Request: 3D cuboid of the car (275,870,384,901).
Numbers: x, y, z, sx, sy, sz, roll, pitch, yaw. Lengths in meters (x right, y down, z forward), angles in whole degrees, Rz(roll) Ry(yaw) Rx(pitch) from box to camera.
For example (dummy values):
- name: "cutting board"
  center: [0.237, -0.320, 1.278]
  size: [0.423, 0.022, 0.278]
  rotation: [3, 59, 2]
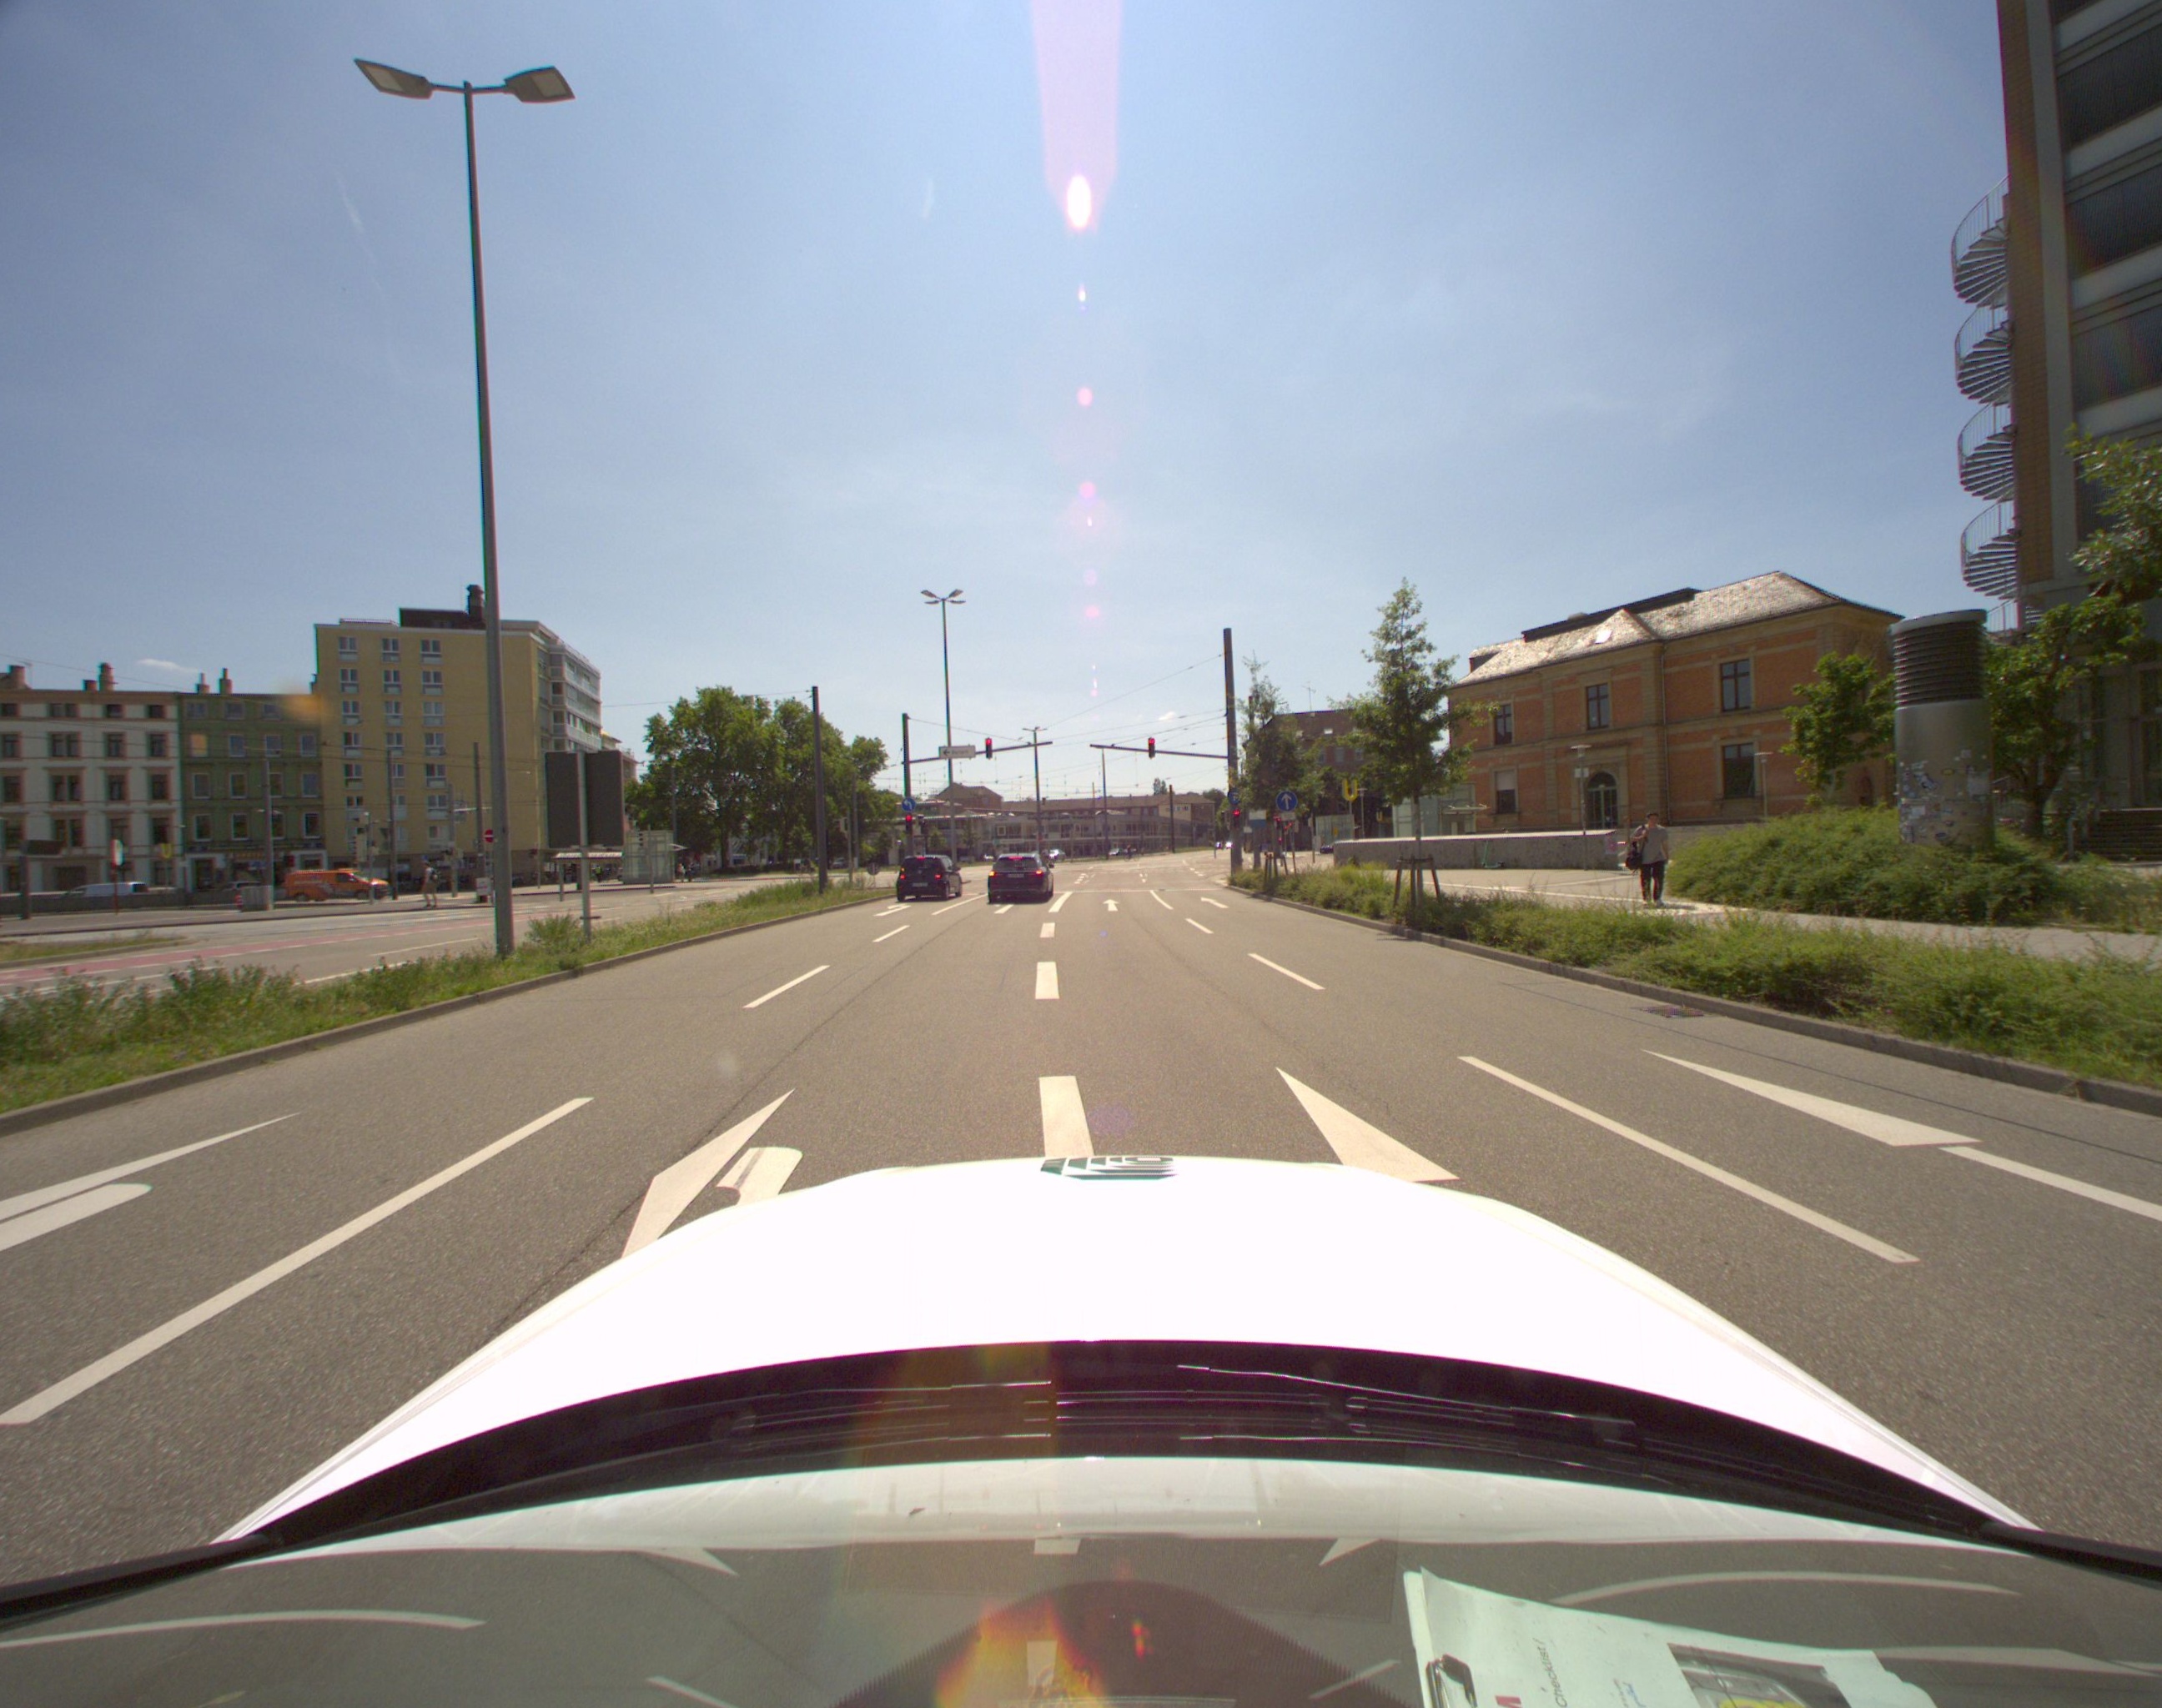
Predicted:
- name: "car"
  center: [-46.407, 1.926, 50.397]
  size: [4.629, 1.613, 1.668]
  rotation: [-2, 2, -14]

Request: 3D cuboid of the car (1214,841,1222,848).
- name: "car"
  center: [30.275, -2.102, 180.097]
  size: [1.522, 1.458, 3.560]
  rotation: [-1, 2, 8]

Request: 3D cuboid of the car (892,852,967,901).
- name: "car"
  center: [-5.007, 0.706, 27.341]
  size: [1.615, 1.463, 4.001]
  rotation: [-2, 0, 1]

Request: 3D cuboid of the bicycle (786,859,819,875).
- name: "bicycle"
  center: [-25.929, 1.211, 75.917]
  size: [2.771, 1.385, 0.669]
  rotation: [-2, 2, -6]

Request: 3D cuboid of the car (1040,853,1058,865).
- name: "car"
  center: [-3.988, 0.627, 102.638]
  size: [1.421, 1.285, 3.274]
  rotation: [-1, 2, 14]

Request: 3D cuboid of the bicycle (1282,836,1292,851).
- name: "bicycle"
  center: [26.623, -1.378, 105.273]
  size: [0.609, 1.788, 3.183]
  rotation: [-1, 2, 2]

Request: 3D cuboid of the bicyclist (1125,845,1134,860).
- name: "bicyclist"
  center: [5.175, -0.175, 86.191]
  size: [0.734, 1.479, 0.652]
  rotation: [-2, 2, -17]

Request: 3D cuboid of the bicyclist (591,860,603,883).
- name: "bicyclist"
  center: [-45.889, 1.641, 77.195]
  size: [0.767, 2.105, 0.743]
  rotation: [0, 3, 43]

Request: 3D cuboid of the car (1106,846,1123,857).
- name: "car"
  center: [5.134, -0.363, 124.419]
  size: [1.558, 1.427, 3.631]
  rotation: [-1, 2, 19]

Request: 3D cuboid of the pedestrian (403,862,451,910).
- name: "pedestrian"
  center: [-27.617, 1.346, 34.402]
  size: [1.177, 1.933, 0.901]
  rotation: [-2, 2, -5]

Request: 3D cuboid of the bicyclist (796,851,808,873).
- name: "bicyclist"
  center: [-26.008, 0.750, 75.899]
  size: [0.845, 1.965, 0.625]
  rotation: [-2, 2, -6]

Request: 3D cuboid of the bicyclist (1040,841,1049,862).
- name: "bicyclist"
  center: [-3.379, -0.272, 76.145]
  size: [0.761, 1.937, 0.660]
  rotation: [-1, 2, 0]

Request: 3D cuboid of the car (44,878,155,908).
- name: "car"
  center: [-65.038, 2.536, 54.061]
  size: [4.319, 1.626, 1.803]
  rotation: [-2, 2, -19]

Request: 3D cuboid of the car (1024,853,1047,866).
- name: "car"
  center: [-5.421, 0.626, 97.078]
  size: [1.526, 1.277, 3.556]
  rotation: [-1, 2, 18]

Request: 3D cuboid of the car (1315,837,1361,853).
- name: "car"
  center: [25.319, -0.874, 80.229]
  size: [4.112, 1.450, 1.687]
  rotation: [-2, 2, -18]

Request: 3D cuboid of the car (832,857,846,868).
- name: "car"
  center: [-38.082, 1.389, 128.213]
  size: [1.422, 1.508, 3.433]
  rotation: [-2, 2, -4]

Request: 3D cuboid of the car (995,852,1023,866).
- name: "car"
  center: [-7.999, 0.542, 90.758]
  size: [1.606, 1.390, 4.144]
  rotation: [-2, 0, 18]

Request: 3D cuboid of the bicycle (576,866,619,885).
- name: "bicycle"
  center: [-45.825, 2.017, 77.276]
  size: [0.809, 1.595, 3.344]
  rotation: [1, 3, 45]

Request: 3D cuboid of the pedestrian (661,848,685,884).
- name: "pedestrian"
  center: [-34.194, 1.002, 68.286]
  size: [1.211, 2.937, 1.335]
  rotation: [-1, 2, -2]

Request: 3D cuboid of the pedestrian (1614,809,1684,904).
- name: "pedestrian"
  center: [10.530, 0.035, 15.118]
  size: [0.729, 1.706, 0.811]
  rotation: [-1, 1, 2]

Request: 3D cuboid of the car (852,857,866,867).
- name: "car"
  center: [-34.791, 1.240, 127.723]
  size: [1.507, 1.418, 3.416]
  rotation: [-1, 2, -4]

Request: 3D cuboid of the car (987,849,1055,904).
- name: "car"
  center: [-1.827, 0.647, 26.267]
  size: [1.710, 1.556, 4.588]
  rotation: [-2, 0, 1]

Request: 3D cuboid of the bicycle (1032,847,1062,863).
- name: "bicycle"
  center: [-3.178, 0.097, 76.180]
  size: [2.817, 1.463, 0.634]
  rotation: [-1, 2, -1]

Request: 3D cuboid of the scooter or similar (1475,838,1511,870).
- name: "scooter or similar"
  center: [15.574, -0.027, 30.837]
  size: [0.398, 1.167, 1.281]
  rotation: [-2, 2, -21]

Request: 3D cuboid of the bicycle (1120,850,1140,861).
- name: "bicycle"
  center: [5.193, 0.151, 86.202]
  size: [2.165, 1.107, 0.454]
  rotation: [-2, 2, -17]
